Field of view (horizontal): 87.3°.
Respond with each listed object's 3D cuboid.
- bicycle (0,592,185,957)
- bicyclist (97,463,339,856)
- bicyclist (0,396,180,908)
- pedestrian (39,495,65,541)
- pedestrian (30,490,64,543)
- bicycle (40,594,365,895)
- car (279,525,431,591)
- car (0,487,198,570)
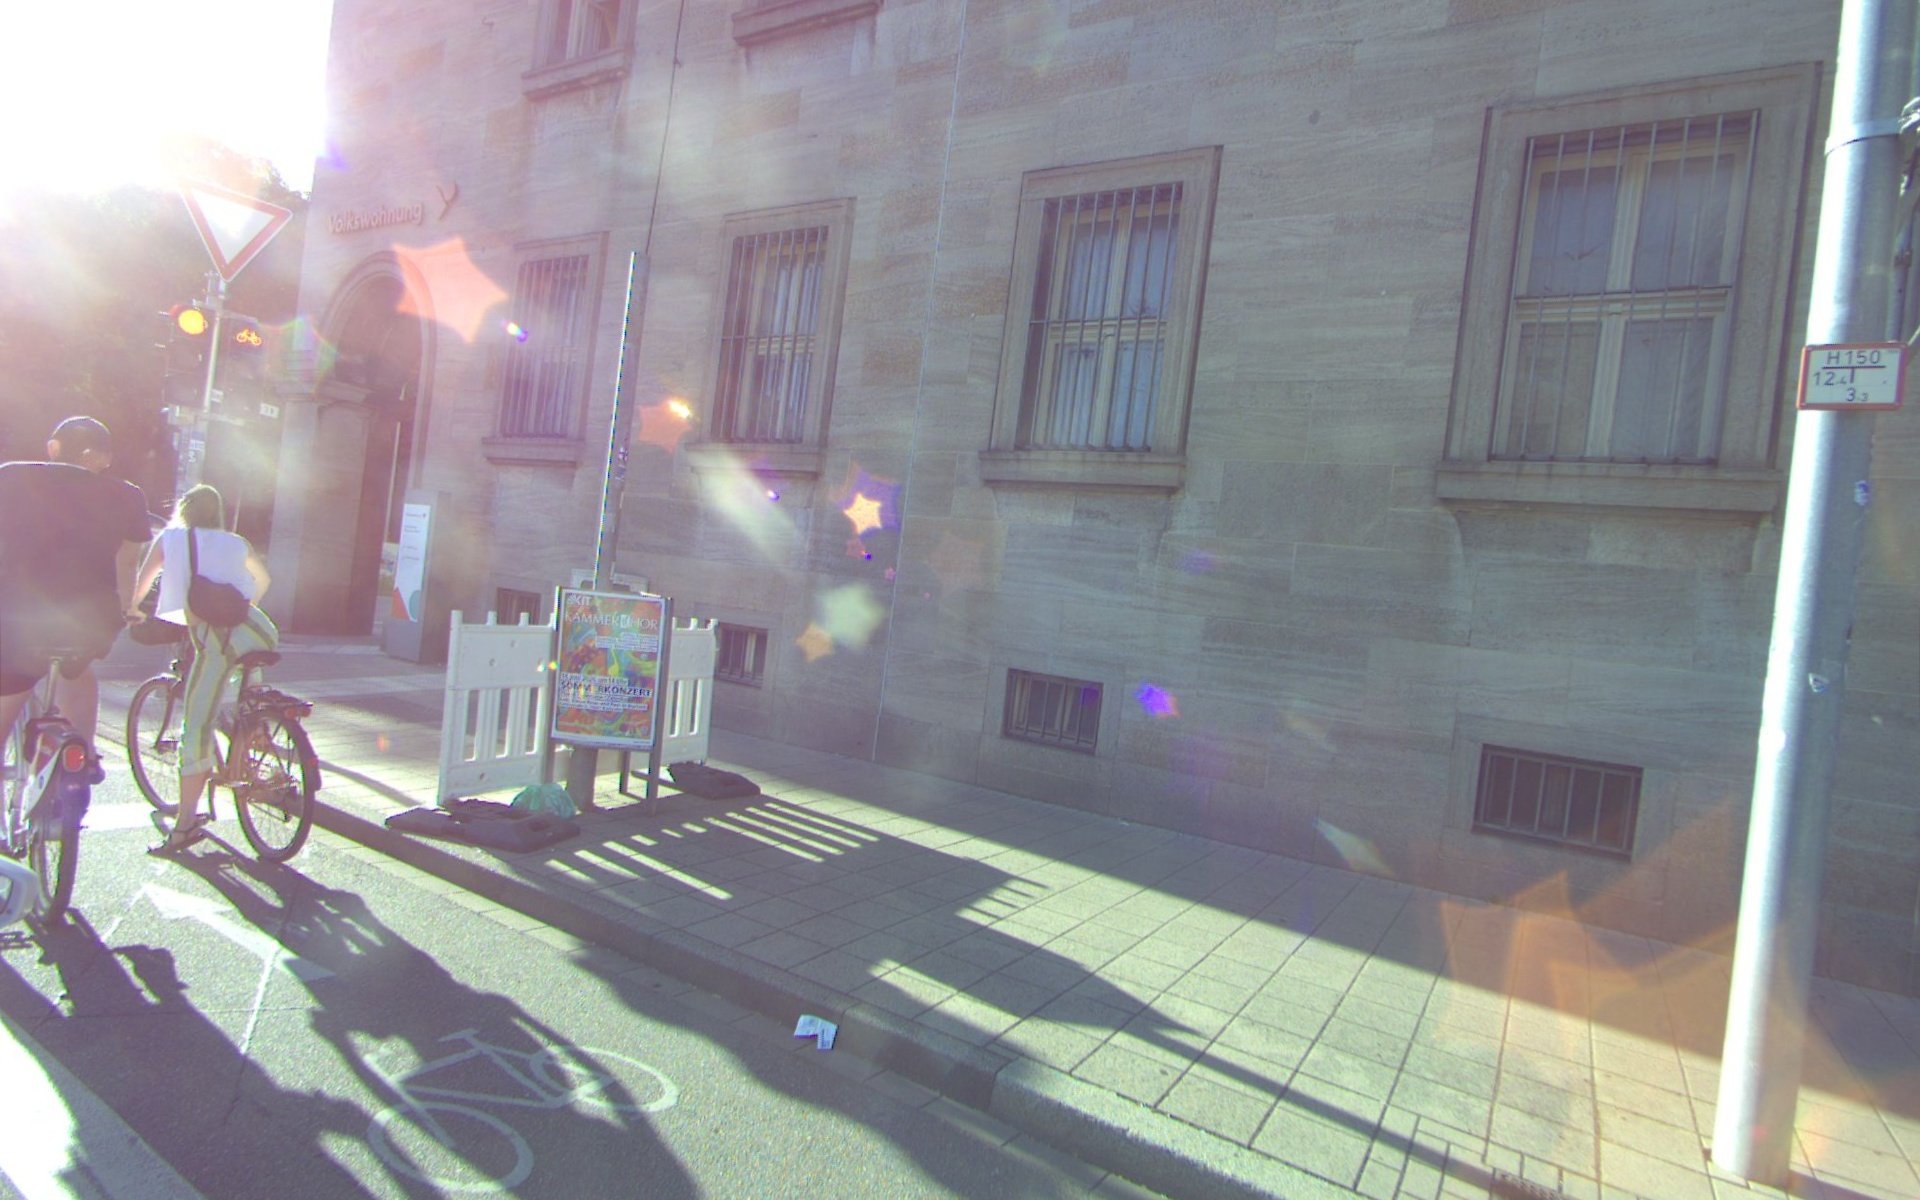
[{"bbox_3d":[-3.735,0.573,3.925,1.700,1.090,0.516,7,-1,34],"label":"bicycle"},{"bbox_3d":[-3.532,0.265,4.804,0.629,1.711,0.558,7,-1,30],"label":"bicyclist"},{"bbox_3d":[-3.546,0.192,3.854,0.541,1.820,0.559,7,-1,33],"label":"bicyclist"},{"bbox_3d":[-31.511,-2.829,34.917,0.430,1.522,0.440,7,1,33],"label":"pedestrian"},{"bbox_3d":[-31.202,-2.843,34.390,0.506,1.683,0.583,8,0,34],"label":"pedestrian"},{"bbox_3d":[-3.679,0.621,4.842,1.721,1.090,0.535,7,-1,31],"label":"bicycle"},{"bbox_3d":[-19.725,-1.338,32.966,1.623,1.630,3.854,7,-1,31],"label":"car"},{"bbox_3d":[-23.368,-1.894,27.196,1.623,1.630,3.999,7,-1,31],"label":"car"}]
